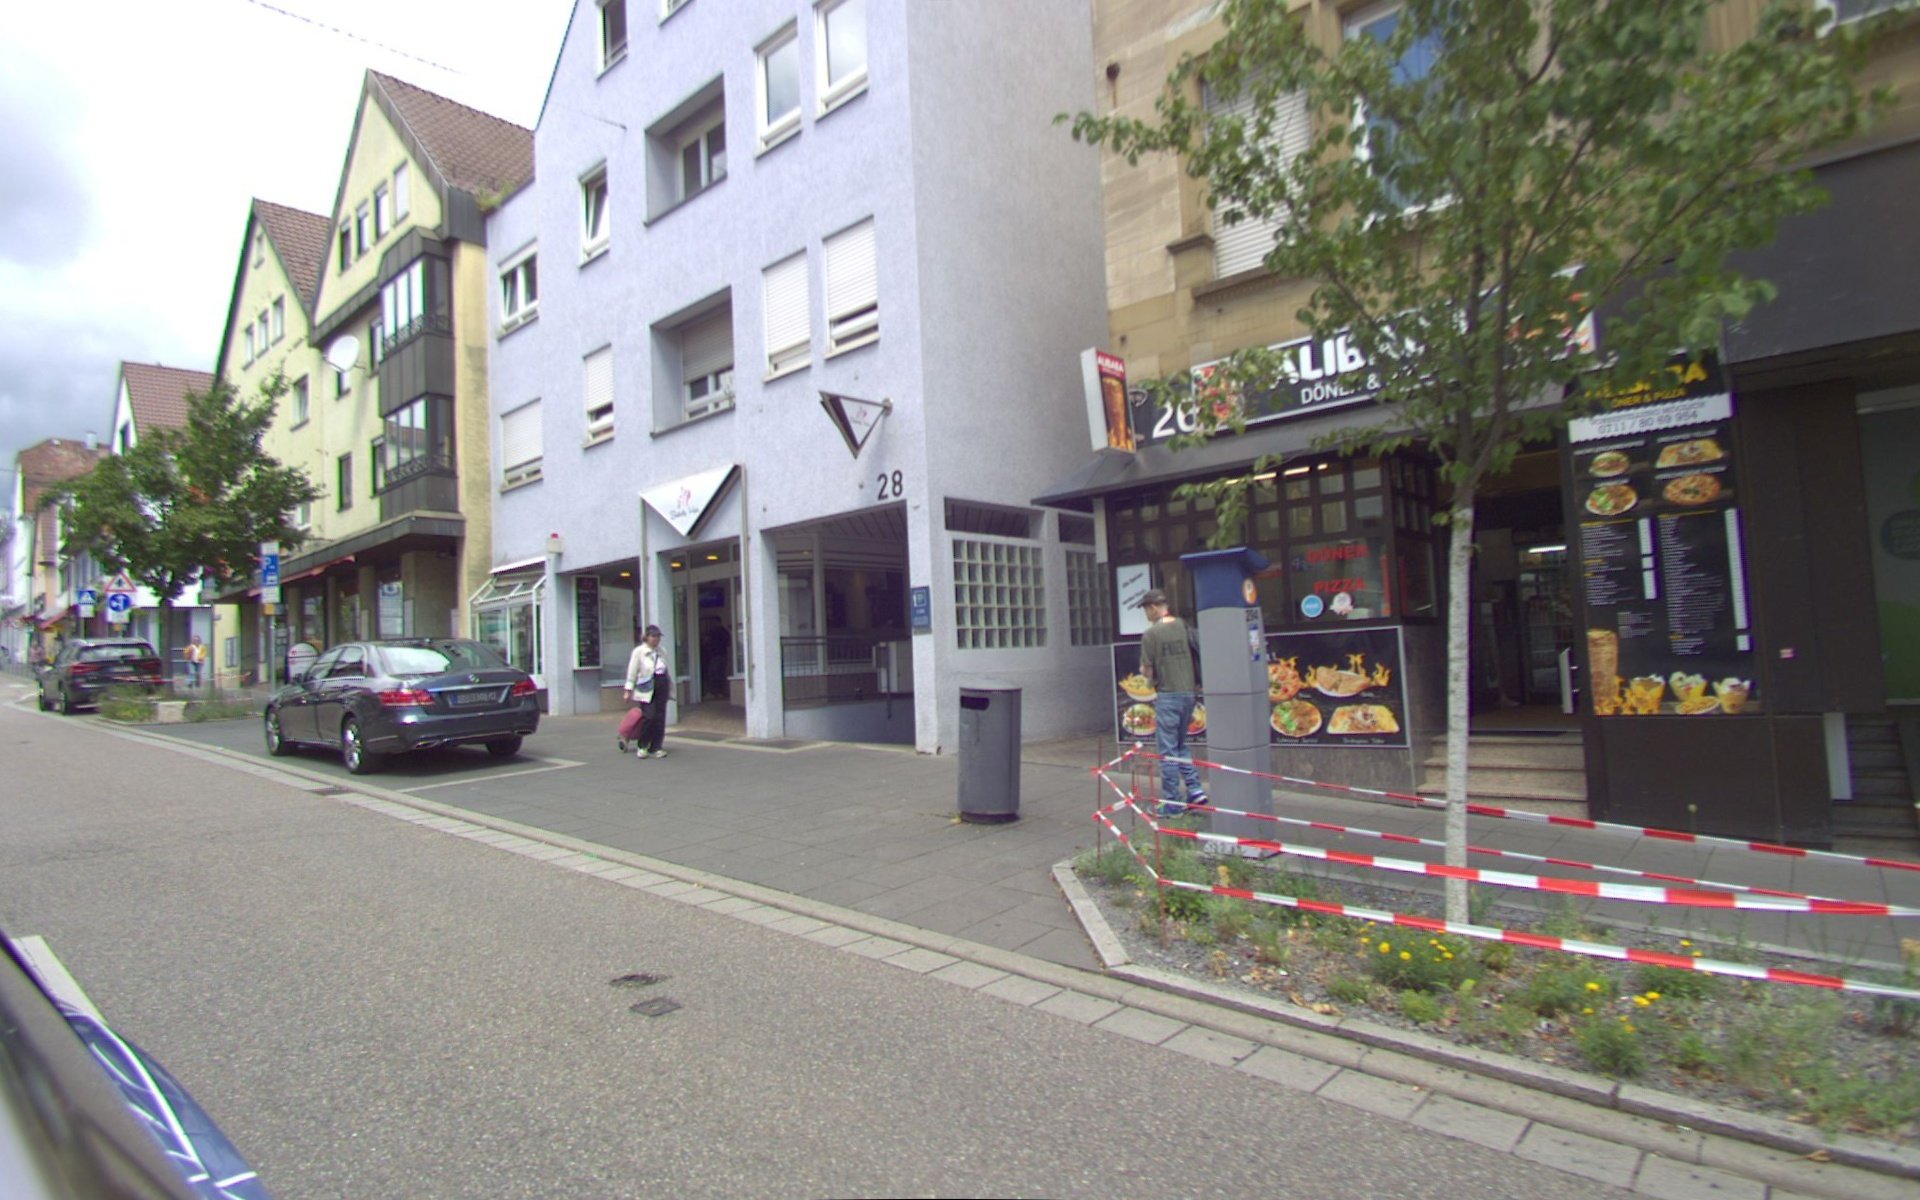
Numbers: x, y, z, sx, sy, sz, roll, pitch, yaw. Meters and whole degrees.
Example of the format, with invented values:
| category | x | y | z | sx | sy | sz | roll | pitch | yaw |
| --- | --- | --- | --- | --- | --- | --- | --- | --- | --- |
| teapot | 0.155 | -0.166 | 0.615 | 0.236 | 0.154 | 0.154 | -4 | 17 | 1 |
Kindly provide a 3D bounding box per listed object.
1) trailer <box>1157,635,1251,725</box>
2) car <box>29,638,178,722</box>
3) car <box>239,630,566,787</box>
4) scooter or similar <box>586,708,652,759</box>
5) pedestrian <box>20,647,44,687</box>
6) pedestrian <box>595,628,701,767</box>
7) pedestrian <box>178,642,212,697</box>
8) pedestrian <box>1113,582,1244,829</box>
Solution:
| category | x | y | z | sx | sy | sz | roll | pitch | yaw |
| --- | --- | --- | --- | --- | --- | --- | --- | --- | --- |
| trailer | 3.531 | 1.150 | 14.621 | 0.789 | 1.222 | 1.218 | -6 | -5 | 41 |
| car | -20.230 | 1.851 | 23.835 | 4.604 | 1.706 | 1.986 | -4 | -2 | 41 |
| car | -7.043 | 1.206 | 12.544 | 4.838 | 1.504 | 1.907 | -3 | 0 | 40 |
| scooter or similar | -4.082 | 1.590 | 12.124 | 0.572 | 0.523 | 0.519 | -2 | 0 | 40 |
| pedestrian | -41.231 | 2.959 | 44.954 | 0.825 | 1.753 | 0.686 | -3 | -3 | 43 |
| pedestrian | -3.576 | 1.081 | 11.604 | 0.809 | 1.474 | 0.817 | -2 | 0 | 40 |
| pedestrian | -24.907 | 2.252 | 32.956 | 0.835 | 1.752 | 0.630 | -2 | -4 | 39 |
| pedestrian | 1.629 | 0.741 | 7.541 | 0.710 | 1.726 | 0.581 | -2 | -1 | 41 |
